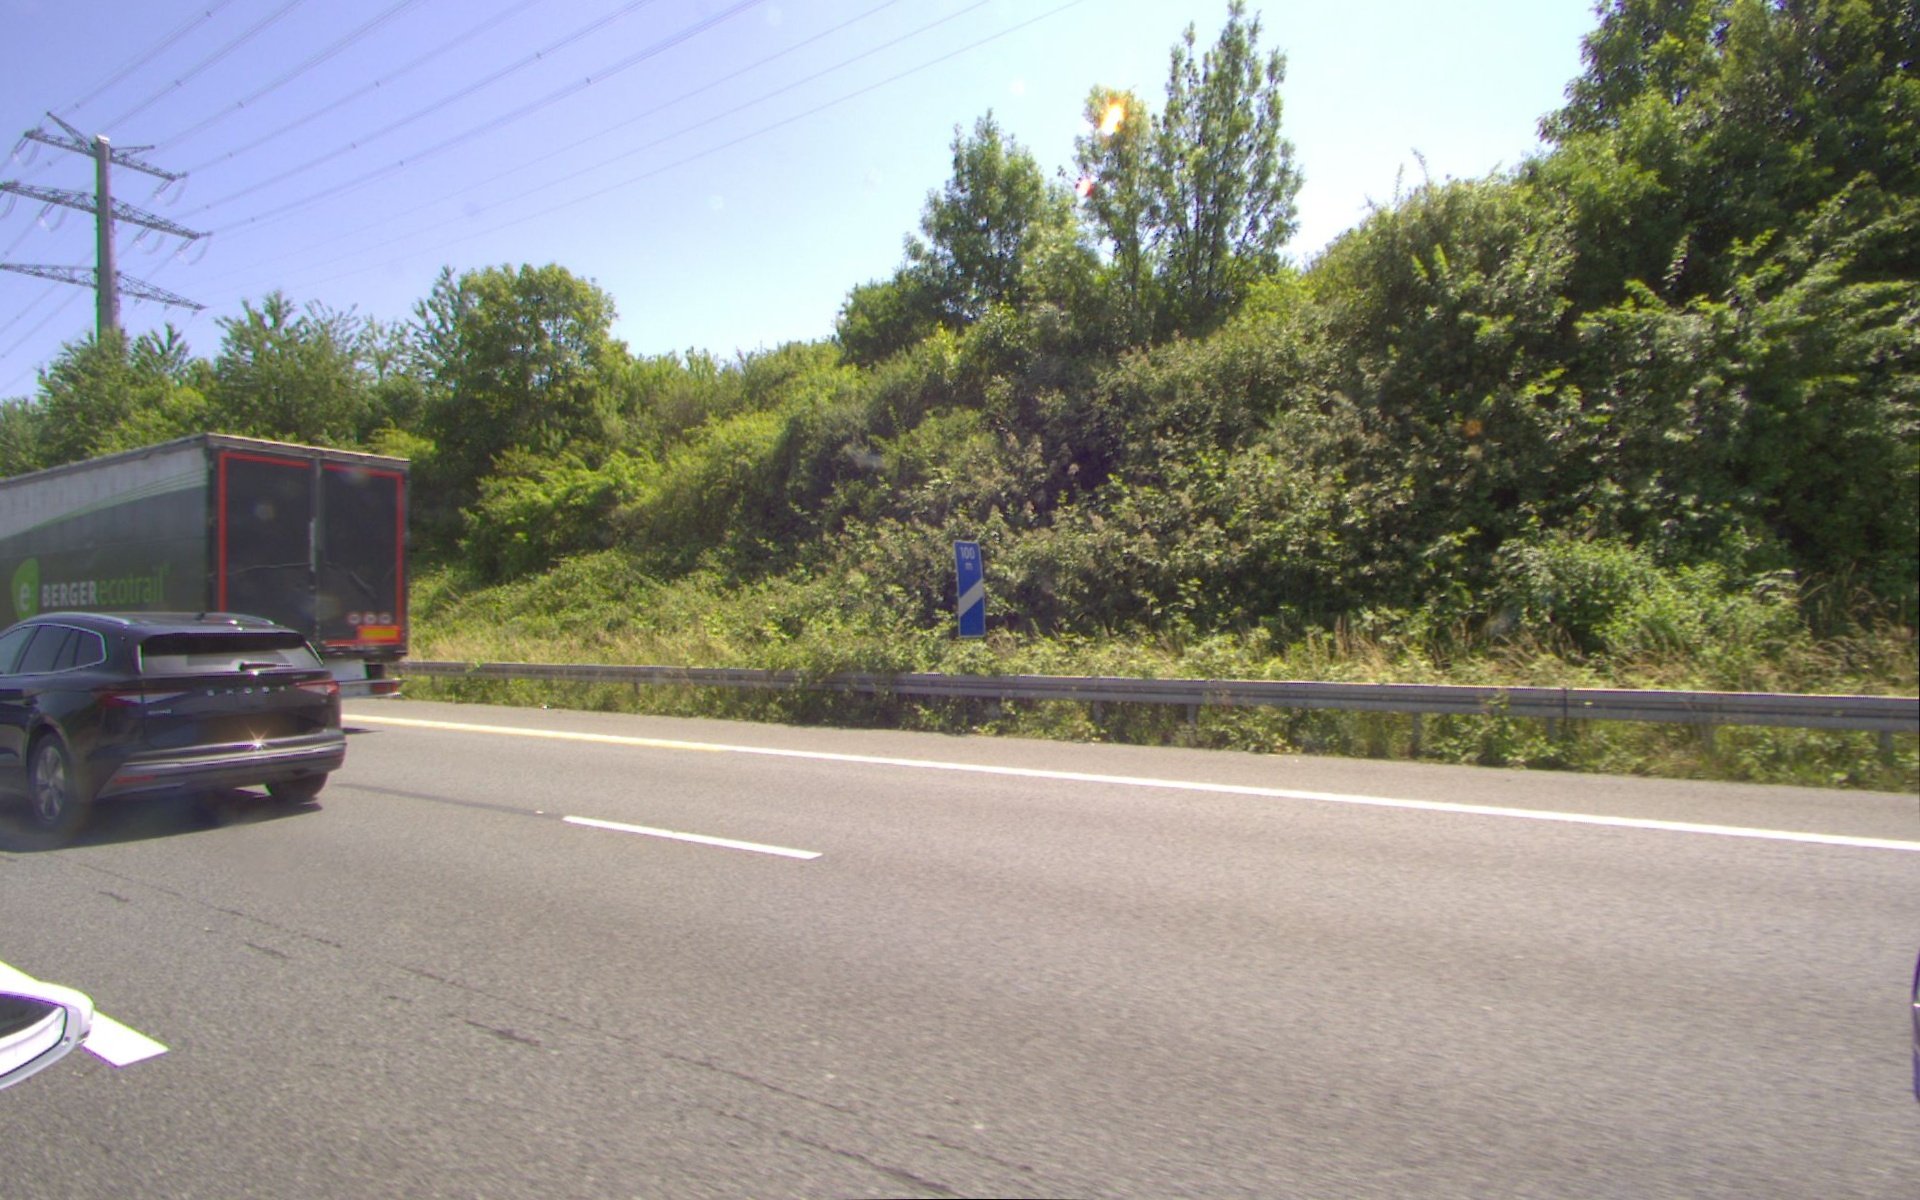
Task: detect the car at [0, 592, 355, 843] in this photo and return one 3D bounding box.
[{"bbox_3d":[-7.233,0.857,8.568,4.365,1.676,1.698,-1,-2,31],"label":"car"}]

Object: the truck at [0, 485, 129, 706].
[{"bbox_3d":[-19.979,-0.011,20.588,5.709,4.098,2.729,-1,-2,31],"label":"truck"}]

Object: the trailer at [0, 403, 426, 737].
[{"bbox_3d":[-14.045,-0.196,16.884,12.923,4.098,2.779,-1,-2,32],"label":"trailer"}]

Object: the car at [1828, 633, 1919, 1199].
[{"bbox_3d":[4.039,0.746,1.063,4.446,1.437,1.792,-1,-2,32],"label":"car"}]
